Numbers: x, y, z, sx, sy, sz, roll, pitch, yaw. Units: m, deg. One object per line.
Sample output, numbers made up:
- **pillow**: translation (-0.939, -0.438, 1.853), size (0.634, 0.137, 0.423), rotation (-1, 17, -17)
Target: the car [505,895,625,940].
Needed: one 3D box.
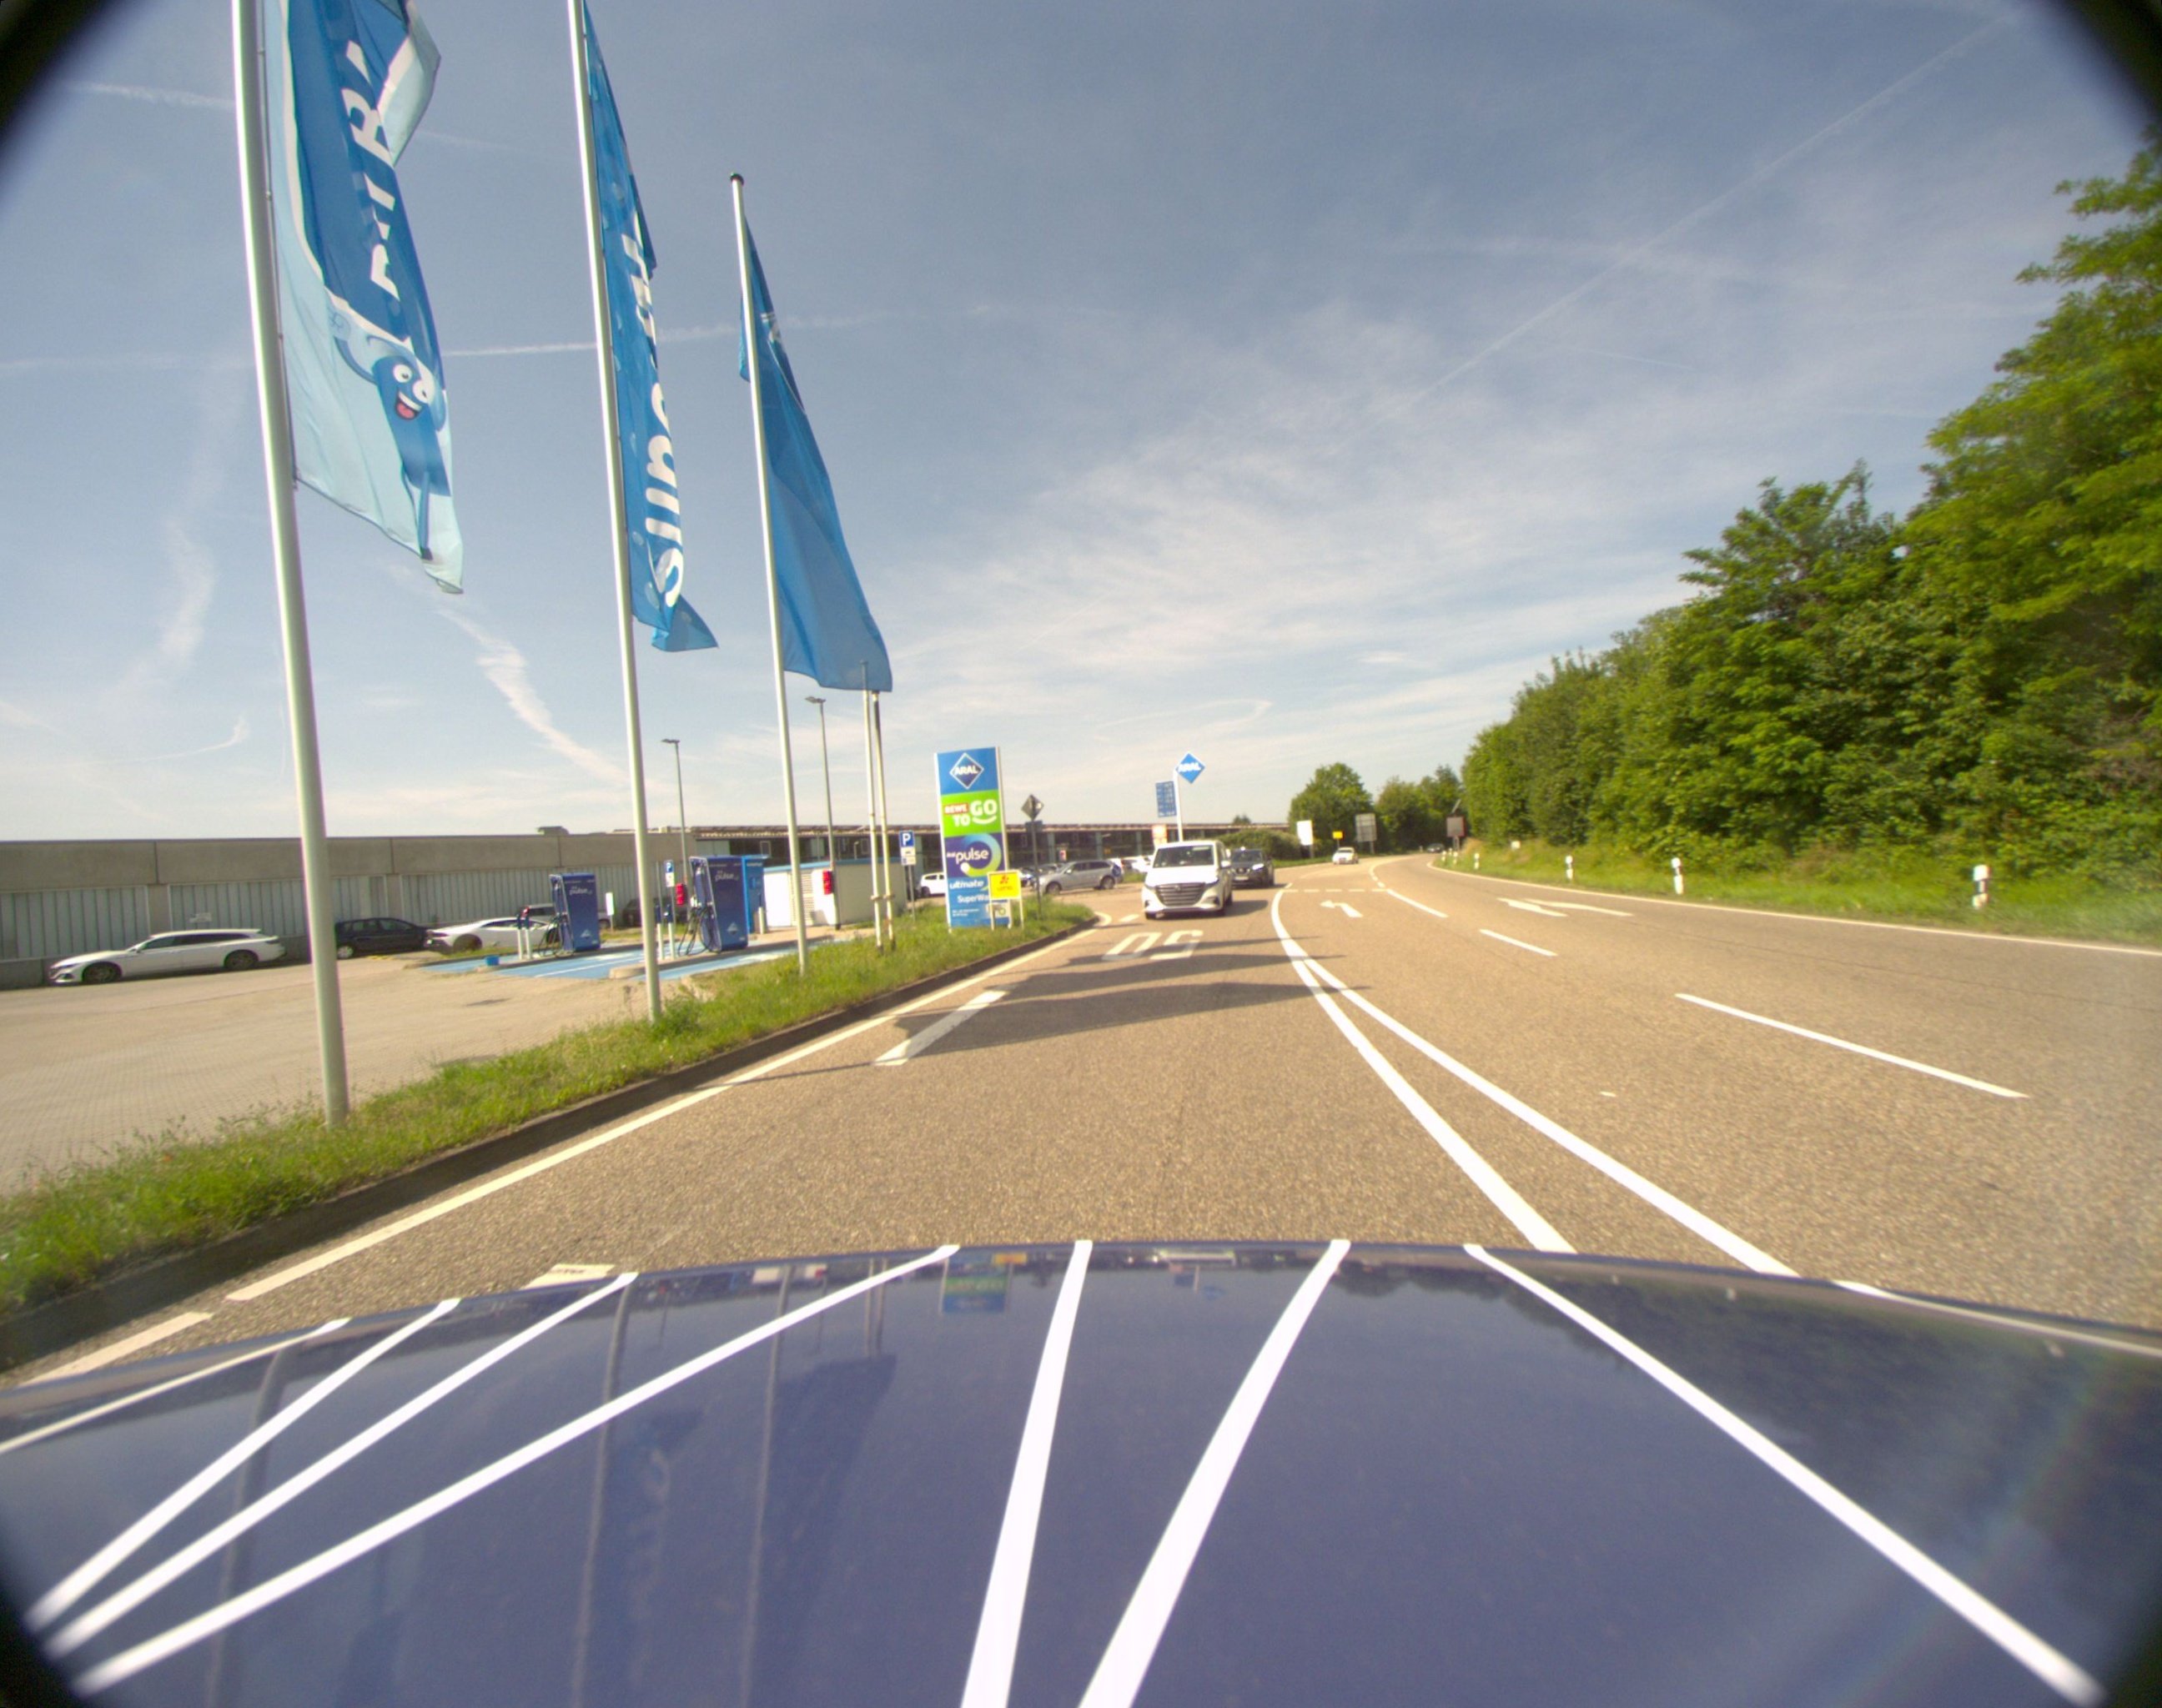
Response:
- **car**: translation (-23.282, 2.825, 34.371), size (1.885, 1.595, 4.028), rotation (-4, 0, 40)

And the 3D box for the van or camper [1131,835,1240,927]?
- **van or camper**: translation (2.907, 0.590, 19.930), size (1.996, 2.002, 5.296), rotation (-4, 0, 16)

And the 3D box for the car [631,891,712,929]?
- **car**: translation (-19.577, 2.664, 36.278), size (4.011, 1.595, 1.894), rotation (-4, 0, 39)

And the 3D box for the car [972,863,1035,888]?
- **car**: translation (-5.730, 1.598, 56.073), size (4.454, 1.628, 1.826), rotation (-4, -2, 37)

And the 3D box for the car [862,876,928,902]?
- **car**: translation (-11.657, 2.183, 47.503), size (4.035, 1.449, 1.826), rotation (-4, -2, 37)

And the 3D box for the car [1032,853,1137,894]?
- **car**: translation (0.180, 1.043, 41.291), size (5.245, 1.820, 1.997), rotation (-4, 0, -17)

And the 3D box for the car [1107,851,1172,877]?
- **car**: translation (4.170, 0.719, 54.401), size (4.248, 1.628, 1.826), rotation (-4, -1, 31)

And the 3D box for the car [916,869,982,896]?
- **car**: translation (-9.083, 1.941, 52.220), size (4.454, 1.628, 1.826), rotation (-4, -2, 37)

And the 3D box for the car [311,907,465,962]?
- **car**: translation (-26.783, 3.047, 29.470), size (1.885, 1.595, 4.028), rotation (-4, 0, 36)

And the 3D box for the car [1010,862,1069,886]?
- **car**: translation (-3.312, 1.587, 60.300), size (4.454, 1.628, 1.826), rotation (-4, -2, 37)

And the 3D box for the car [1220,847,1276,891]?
- **car**: translation (6.706, 0.563, 30.212), size (1.819, 1.532, 3.731), rotation (-4, 0, 16)

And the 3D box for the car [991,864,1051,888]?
- **car**: translation (-4.627, 1.717, 58.330), size (4.454, 1.628, 1.826), rotation (-4, -2, 37)

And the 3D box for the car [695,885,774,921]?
- **car**: translation (-17.464, 2.485, 38.229), size (4.011, 1.595, 1.894), rotation (-4, 0, 39)

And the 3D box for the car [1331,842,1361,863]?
- **car**: translation (23.585, -0.152, 67.480), size (1.865, 1.631, 4.428), rotation (-4, 0, 26)

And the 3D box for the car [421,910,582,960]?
- **car**: translation (-20.335, 2.801, 26.833), size (1.694, 1.245, 4.133), rotation (-4, 0, 36)

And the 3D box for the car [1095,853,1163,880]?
- **car**: translation (3.277, 0.875, 52.150), size (4.248, 1.628, 1.826), rotation (-4, -1, 31)

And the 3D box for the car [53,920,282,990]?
- **car**: translation (-29.645, 3.193, 24.836), size (1.885, 1.595, 4.538), rotation (-4, 0, 33)

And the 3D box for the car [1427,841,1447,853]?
- **car**: translation (54.248, -1.066, 115.740), size (1.864, 1.631, 4.429), rotation (-4, 0, 37)
